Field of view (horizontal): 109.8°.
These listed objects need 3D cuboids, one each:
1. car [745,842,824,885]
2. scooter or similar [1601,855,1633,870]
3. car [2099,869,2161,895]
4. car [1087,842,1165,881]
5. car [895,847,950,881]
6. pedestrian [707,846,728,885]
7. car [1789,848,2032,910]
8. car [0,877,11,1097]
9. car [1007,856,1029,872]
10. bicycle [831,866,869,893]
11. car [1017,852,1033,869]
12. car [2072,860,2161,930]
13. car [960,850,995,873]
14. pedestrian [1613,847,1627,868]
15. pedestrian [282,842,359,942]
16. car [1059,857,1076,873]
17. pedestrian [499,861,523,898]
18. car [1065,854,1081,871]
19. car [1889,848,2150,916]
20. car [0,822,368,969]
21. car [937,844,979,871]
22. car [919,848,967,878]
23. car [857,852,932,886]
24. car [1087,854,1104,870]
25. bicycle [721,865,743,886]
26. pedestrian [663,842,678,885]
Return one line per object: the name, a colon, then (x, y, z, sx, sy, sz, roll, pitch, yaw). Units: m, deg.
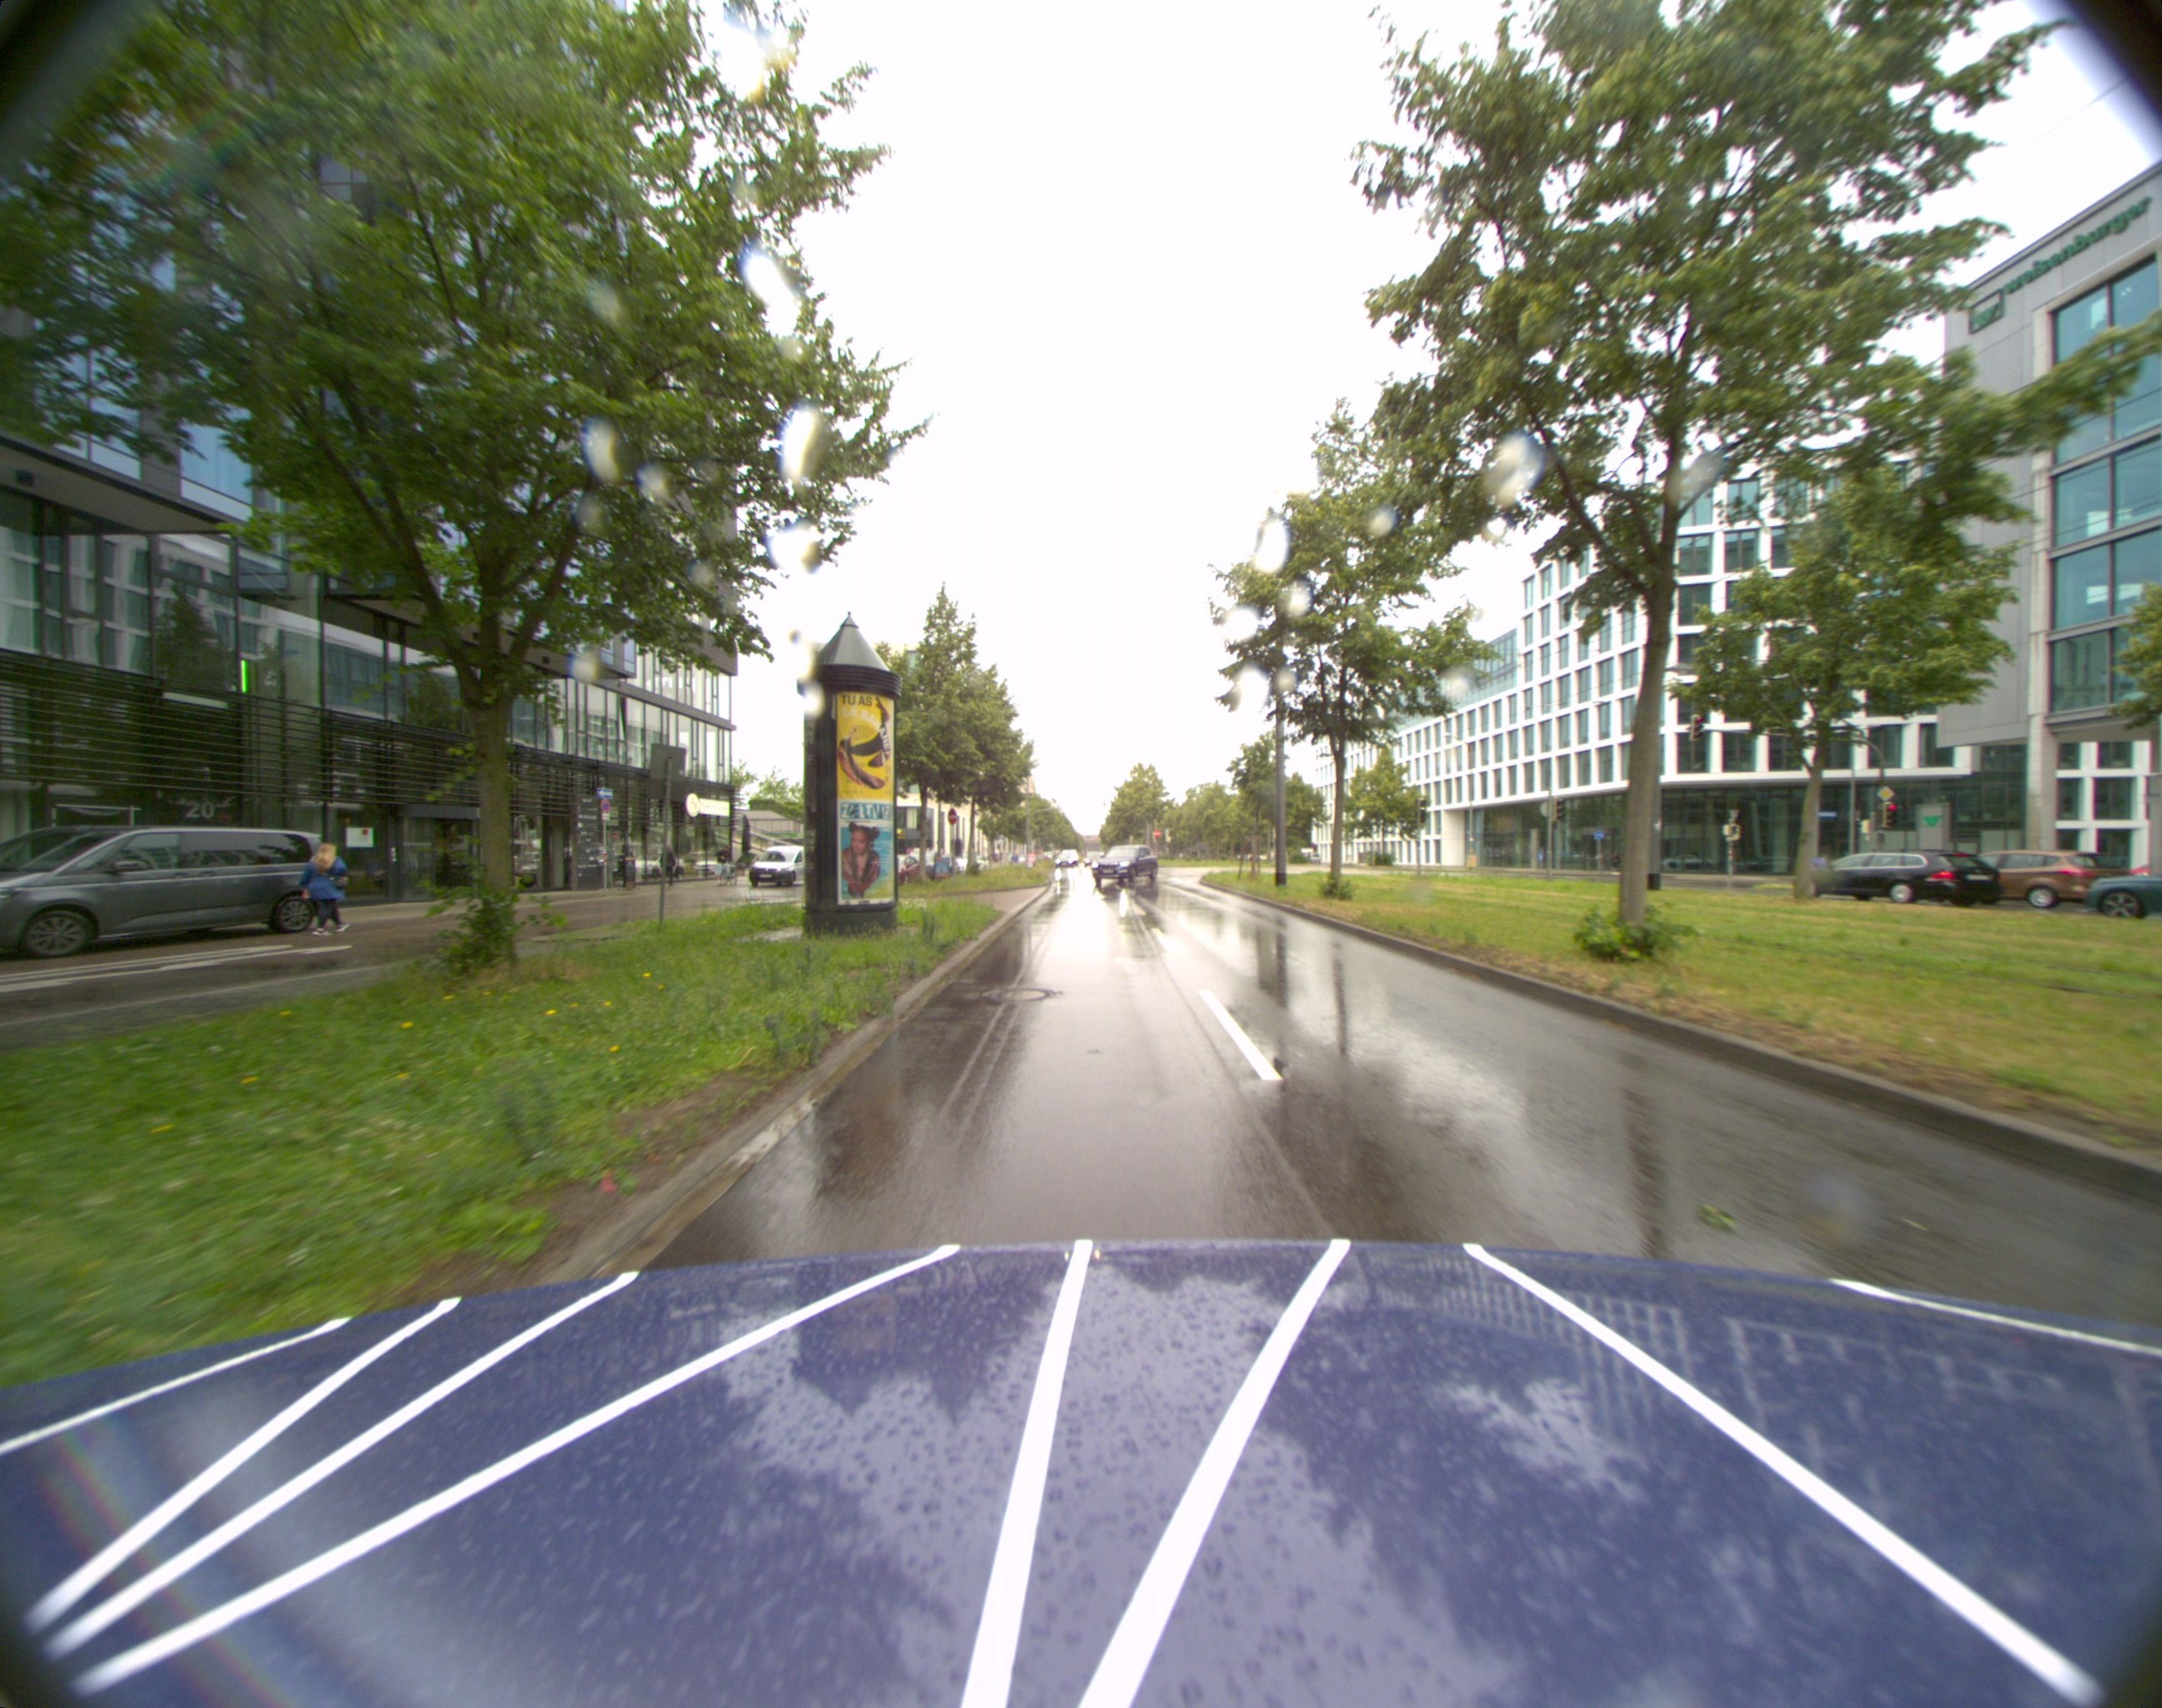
car: (-13.548, 0.419, 35.011, 1.898, 1.855, 4.723, 0, 0, -2)
scooter or similar: (42.504, 0.669, 60.245, 2.161, 1.145, 0.550, 0, -1, 0)
car: (59.916, 1.532, 42.002, 4.087, 1.427, 1.890, -1, -1, 14)
car: (2.158, 0.286, 34.938, 1.924, 1.651, 4.724, 1, 1, 25)
car: (-8.248, 0.560, 39.928, 1.998, 1.697, 4.219, 0, -1, 0)
pedestrian: (-15.949, 0.497, 33.330, 0.627, 1.695, 0.657, 0, -1, -4)
car: (22.826, 0.659, 21.240, 1.955, 1.549, 4.464, 0, -1, 1)
car: (-8.716, 0.906, 3.484, 1.765, 1.586, 4.102, 0, -2, 2)
car: (-6.726, 1.094, 81.498, 1.998, 1.697, 4.840, 0, -2, 0)
bicycle: (-7.970, 0.864, 26.214, 1.458, 0.911, 0.434, -1, -1, 33)
car: (-6.850, 0.809, 93.011, 1.916, 2.001, 4.000, 0, -1, -4)
car: (22.255, 0.782, 14.068, 1.956, 1.377, 4.474, 0, -2, 0)
car: (-8.064, 0.615, 59.660, 1.998, 1.697, 4.840, 0, -2, 0)
pedestrian: (42.643, 0.297, 60.130, 0.634, 1.634, 0.546, 0, 2, 2)
pedestrian: (-13.658, 0.670, 13.661, 0.581, 1.729, 0.803, -1, -1, -1)
car: (-1.403, 1.120, 77.617, 1.687, 1.520, 3.970, 0, -2, 0)
pedestrian: (-19.557, 0.874, 26.074, 0.448, 1.229, 0.583, -1, -1, 43)
car: (-0.913, 1.040, 87.876, 1.757, 1.914, 4.001, 0, -1, 1)
car: (25.819, 0.689, 21.204, 1.956, 1.684, 4.271, 0, 1, 0)
car: (-15.093, 0.530, 12.439, 1.999, 1.909, 5.148, 0, 1, -1)
car: (-8.263, 0.294, 51.377, 1.998, 1.697, 4.840, 0, -2, 0)
car: (-8.279, 0.569, 45.836, 1.998, 1.697, 4.725, 0, -2, 0)
car: (-8.303, 0.622, 34.295, 1.998, 1.446, 4.959, 0, 0, 2)
car: (1.455, 0.812, 76.364, 1.657, 1.520, 3.776, 0, -1, 0)
bicycle: (-15.370, 0.947, 33.476, 0.437, 0.892, 1.232, 0, -1, -3)
pedestrian: (-17.739, 0.419, 32.816, 0.508, 1.821, 0.575, 0, -1, -35)
